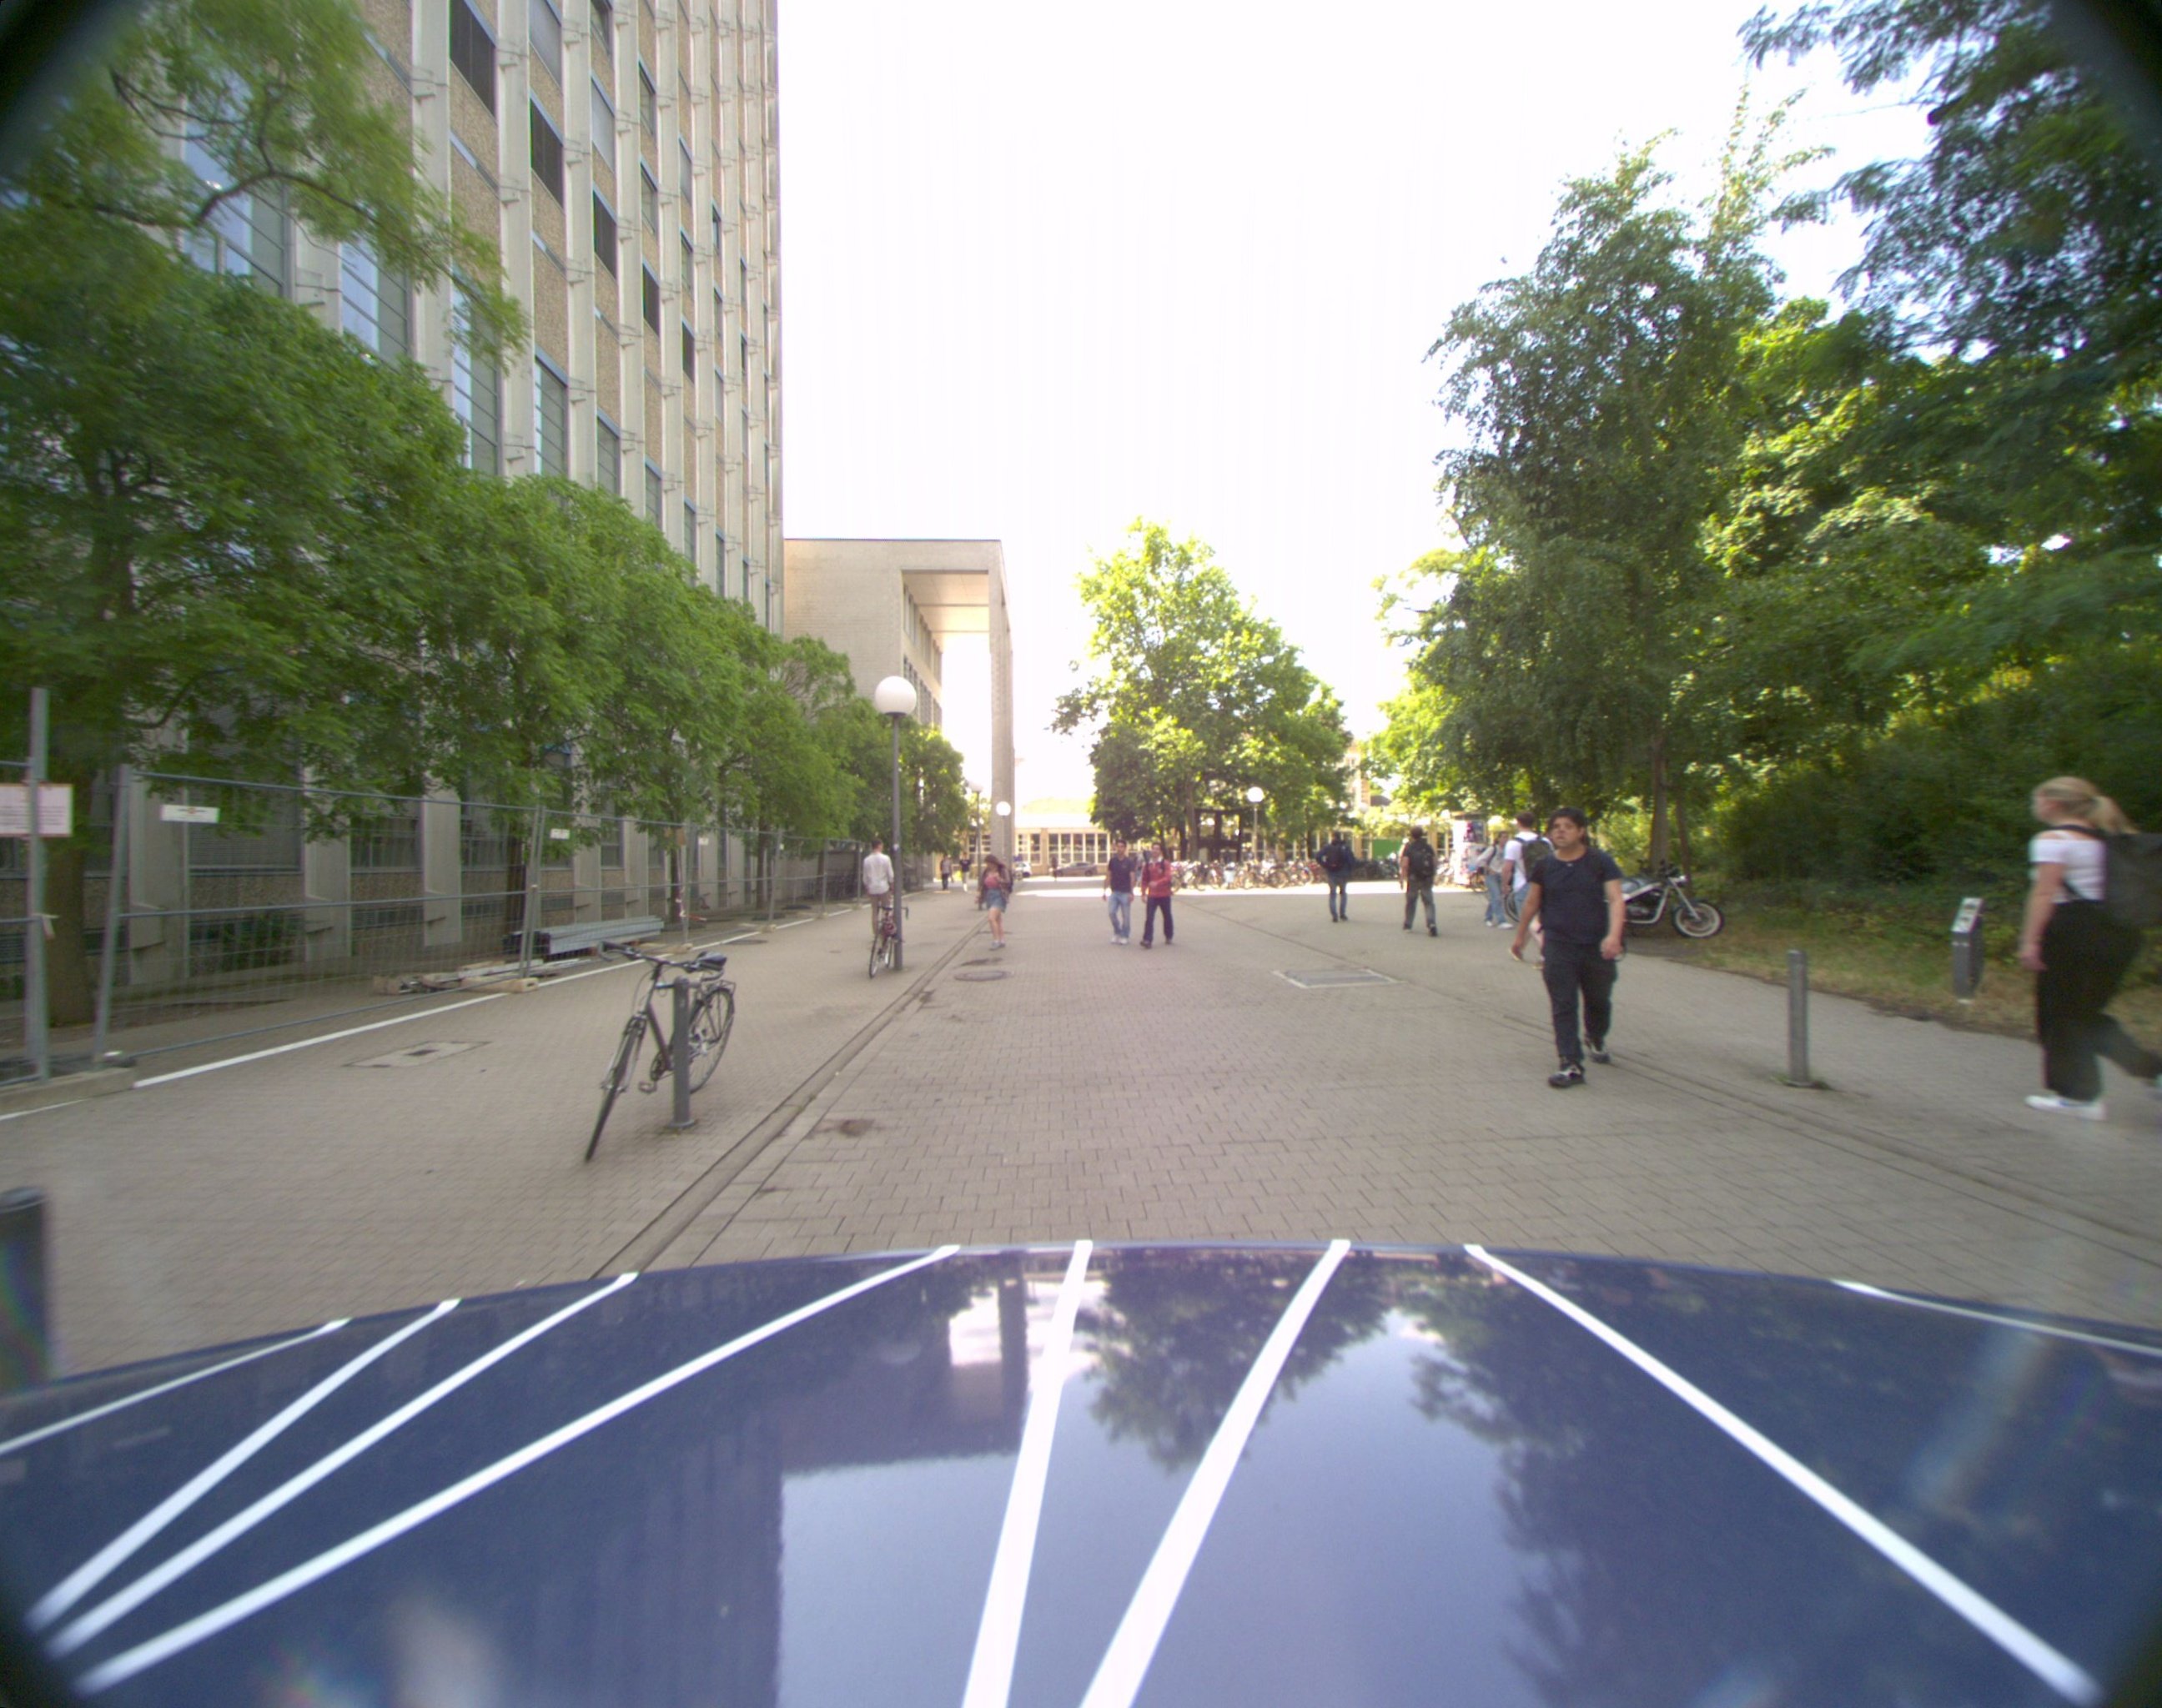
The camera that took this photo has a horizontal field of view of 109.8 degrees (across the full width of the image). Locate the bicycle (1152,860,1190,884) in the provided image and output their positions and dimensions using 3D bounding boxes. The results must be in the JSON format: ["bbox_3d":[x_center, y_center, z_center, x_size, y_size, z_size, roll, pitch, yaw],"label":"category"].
[{"bbox_3d":[4.343,0.869,36.546,1.700,1.101,0.565,-1,1,-13],"label":"bicycle"}]

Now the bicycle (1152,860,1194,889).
[{"bbox_3d":[3.886,0.879,32.203,1.701,1.161,0.473,-2,1,-19],"label":"bicycle"}]

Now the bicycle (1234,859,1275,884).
[{"bbox_3d":[7.672,0.782,33.585,1.695,1.077,0.475,-1,1,29],"label":"bicycle"}]

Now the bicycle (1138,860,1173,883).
[{"bbox_3d":[3.800,0.891,38.787,1.700,1.139,0.473,-1,1,-14],"label":"bicycle"}]

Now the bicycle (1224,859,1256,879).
[{"bbox_3d":[8.894,0.846,42.509,1.695,1.101,0.504,-1,1,34],"label":"bicycle"}]

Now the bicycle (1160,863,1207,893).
[{"bbox_3d":[3.955,0.916,29.339,1.699,1.085,0.474,-1,1,-8],"label":"bicycle"}]

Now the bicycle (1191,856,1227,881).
[{"bbox_3d":[6.547,0.754,38.820,1.700,1.213,0.502,-1,1,-13],"label":"bicycle"}]

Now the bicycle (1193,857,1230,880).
[{"bbox_3d":[6.483,0.714,37.758,1.700,1.101,0.502,-1,1,-13],"label":"bicycle"}]

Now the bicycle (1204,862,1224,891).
[{"bbox_3d":[5.258,0.857,30.066,0.508,1.077,1.699,-1,0,1],"label":"bicycle"}]

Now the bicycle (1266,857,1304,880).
[{"bbox_3d":[9.862,0.716,36.690,1.695,1.077,0.475,-1,1,33],"label":"bicycle"}]

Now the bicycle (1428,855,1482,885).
[{"bbox_3d":[14.192,0.615,28.873,1.773,1.104,0.475,-1,1,36],"label":"bicycle"}]

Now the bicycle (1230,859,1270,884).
[{"bbox_3d":[7.596,0.782,34.195,1.695,1.077,0.475,-1,1,29],"label":"bicycle"}]

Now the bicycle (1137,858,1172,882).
[{"bbox_3d":[3.845,0.831,39.793,1.741,1.228,0.496,-1,1,-9],"label":"bicycle"}]

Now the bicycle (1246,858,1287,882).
[{"bbox_3d":[8.390,0.736,34.358,1.695,1.077,0.475,-1,1,33],"label":"bicycle"}]

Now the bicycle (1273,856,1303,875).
[{"bbox_3d":[12.541,0.685,46.013,0.504,1.101,1.775,-2,1,-40],"label":"bicycle"}]

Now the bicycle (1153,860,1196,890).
[{"bbox_3d":[3.879,0.873,31.660,1.700,1.161,0.473,-1,1,-15],"label":"bicycle"}]

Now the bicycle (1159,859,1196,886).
[{"bbox_3d":[4.360,0.846,34.321,1.702,1.151,0.473,-2,1,-29],"label":"bicycle"}]

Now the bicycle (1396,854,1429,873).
[{"bbox_3d":[20.155,0.577,46.231,0.475,1.077,1.854,-2,1,-40],"label":"bicycle"}]

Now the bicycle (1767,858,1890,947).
[{"bbox_3d":[9.895,0.605,10.132,0.473,1.041,1.702,-3,1,20],"label":"bicycle"}]

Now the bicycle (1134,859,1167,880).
[{"bbox_3d":[3.909,0.884,42.554,1.740,1.120,0.496,-1,1,-7],"label":"bicycle"}]

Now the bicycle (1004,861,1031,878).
[{"bbox_3d":[-4.487,1.088,53.822,1.886,1.157,0.604,1,-1,-7],"label":"bicycle"}]

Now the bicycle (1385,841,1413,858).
[{"bbox_3d":[24.776,-0.345,59.183,1.882,1.164,0.807,-4,-2,28],"label":"bicycle"}]

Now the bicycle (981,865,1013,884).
[{"bbox_3d":[-4.569,1.098,41.355,1.744,1.033,0.449,0,-1,-7],"label":"bicycle"}]

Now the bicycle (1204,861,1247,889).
[{"bbox_3d":[5.914,0.858,31.208,1.697,1.077,0.474,-1,1,10],"label":"bicycle"}]

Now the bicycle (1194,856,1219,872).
[{"bbox_3d":[9.551,0.762,57.739,1.839,1.101,0.393,-1,1,-9],"label":"bicycle"}]

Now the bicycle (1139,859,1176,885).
[{"bbox_3d":[3.779,0.873,37.355,1.700,1.191,0.536,-1,1,-10],"label":"bicycle"}]

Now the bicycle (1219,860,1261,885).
[{"bbox_3d":[6.899,0.812,32.982,1.695,1.077,0.475,-1,1,33],"label":"bicycle"}]

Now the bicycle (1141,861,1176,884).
[{"bbox_3d":[3.919,0.910,38.334,1.700,1.101,0.473,-1,1,-14],"label":"bicycle"}]

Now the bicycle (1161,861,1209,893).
[{"bbox_3d":[3.948,0.874,28.868,1.700,1.152,0.473,-1,1,-11],"label":"bicycle"}]

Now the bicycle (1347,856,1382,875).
[{"bbox_3d":[16.242,0.664,43.567,0.475,1.077,1.854,-2,1,-40],"label":"bicycle"}]

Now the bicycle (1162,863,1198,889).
[{"bbox_3d":[4.334,0.951,33.116,1.703,1.055,0.473,-2,1,-37],"label":"bicycle"}]

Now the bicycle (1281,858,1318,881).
[{"bbox_3d":[10.715,0.767,37.361,1.695,1.077,0.475,-1,1,42],"label":"bicycle"}]

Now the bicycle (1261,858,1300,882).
[{"bbox_3d":[9.370,0.747,35.688,1.695,1.077,0.475,-1,1,33],"label":"bicycle"}]

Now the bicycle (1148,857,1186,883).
[{"bbox_3d":[4.072,0.759,35.981,1.700,1.181,0.473,-1,1,-13],"label":"bicycle"}]

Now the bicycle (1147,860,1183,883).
[{"bbox_3d":[4.204,0.859,37.971,1.700,1.101,0.473,-1,1,-13],"label":"bicycle"}]

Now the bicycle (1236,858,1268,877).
[{"bbox_3d":[9.768,0.776,43.469,1.695,1.101,0.504,-1,1,38],"label":"bicycle"}]

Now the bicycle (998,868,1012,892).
[{"bbox_3d":[-3.483,1.177,34.934,0.538,1.033,1.858,0,0,-3],"label":"bicycle"}]

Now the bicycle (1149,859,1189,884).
[{"bbox_3d":[4.102,0.817,35.455,1.700,1.101,0.582,-1,1,-13],"label":"bicycle"}]

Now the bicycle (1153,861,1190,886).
[{"bbox_3d":[4.130,0.877,34.725,1.702,1.101,0.473,-2,1,-29],"label":"bicycle"}]

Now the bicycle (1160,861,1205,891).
[{"bbox_3d":[4.019,0.862,30.102,1.699,1.161,0.474,-1,1,-8],"label":"bicycle"}]

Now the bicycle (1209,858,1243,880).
[{"bbox_3d":[7.888,0.818,41.296,1.695,1.193,0.577,-1,1,34],"label":"bicycle"}]

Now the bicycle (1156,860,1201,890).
[{"bbox_3d":[3.962,0.845,30.952,1.778,1.161,0.474,-1,1,11],"label":"bicycle"}]

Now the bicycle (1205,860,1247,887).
[{"bbox_3d":[6.163,0.836,32.290,1.697,1.077,0.474,-1,1,11],"label":"bicycle"}]
